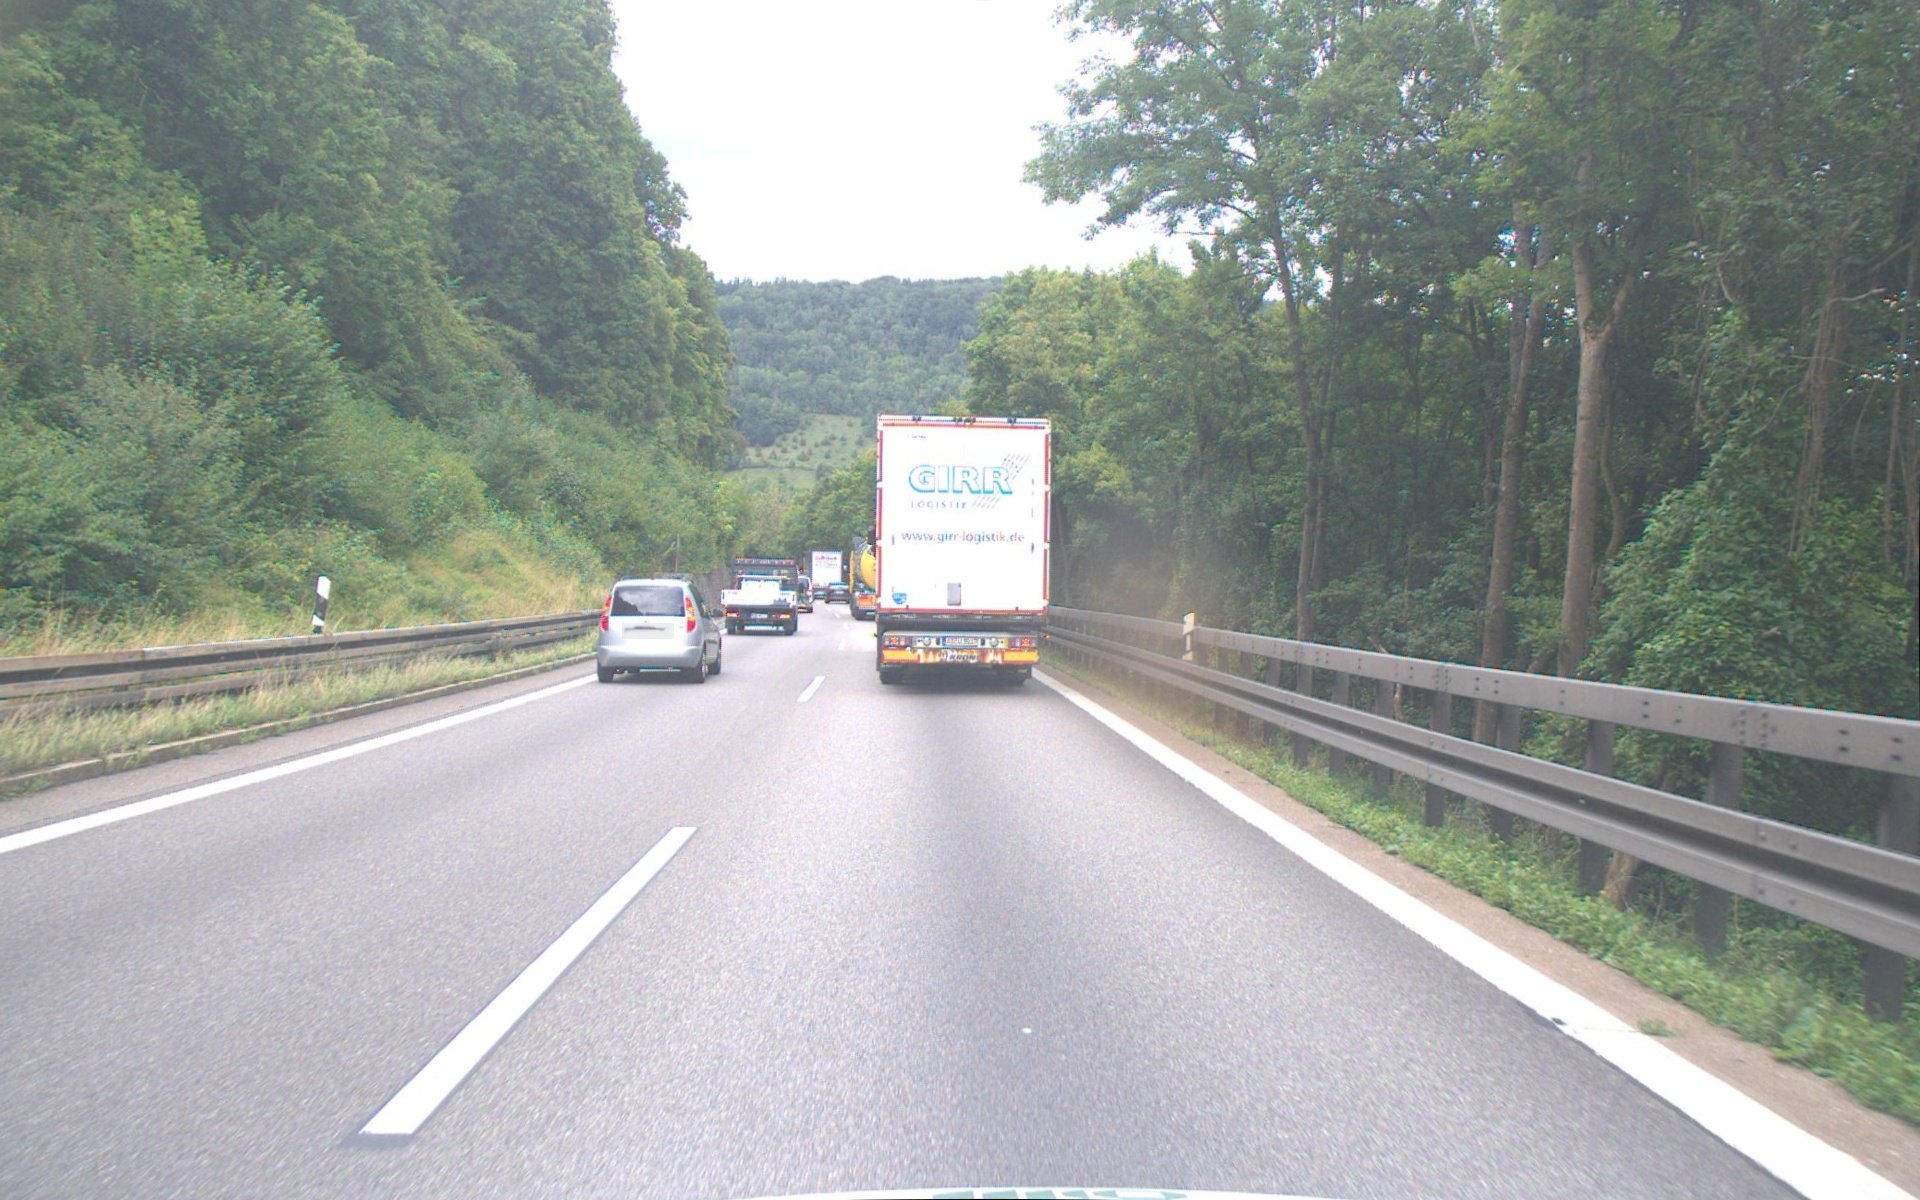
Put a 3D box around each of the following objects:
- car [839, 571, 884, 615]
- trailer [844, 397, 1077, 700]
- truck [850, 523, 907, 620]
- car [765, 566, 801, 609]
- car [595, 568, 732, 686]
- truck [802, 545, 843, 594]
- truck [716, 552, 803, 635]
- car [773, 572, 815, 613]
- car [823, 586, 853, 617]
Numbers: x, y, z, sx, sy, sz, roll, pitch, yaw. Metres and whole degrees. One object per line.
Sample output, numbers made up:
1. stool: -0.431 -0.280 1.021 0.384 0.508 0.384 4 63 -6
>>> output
1. car: -4.922 -0.330 82.064 1.955 2.049 4.328 2 0 -6
2. trailer: -0.236 -0.785 28.234 3.071 4.112 9.434 4 0 -3
3. truck: -3.527 -1.168 71.387 2.189 3.870 6.819 2 0 -3
4. car: -11.345 -0.816 106.204 2.082 2.644 5.558 1 0 -5
5. car: -4.800 0.393 27.286 1.601 1.757 4.343 1 0 -2
6. truck: -11.630 -2.509 139.491 3.010 3.944 8.445 2 0 -7
7. truck: -6.142 -0.233 51.457 2.303 2.313 6.843 2 0 -5
8. car: -8.599 -0.415 85.951 1.979 1.947 5.558 2 1 -5
9. car: -8.499 0.092 115.228 1.954 2.049 3.996 2 0 -4
